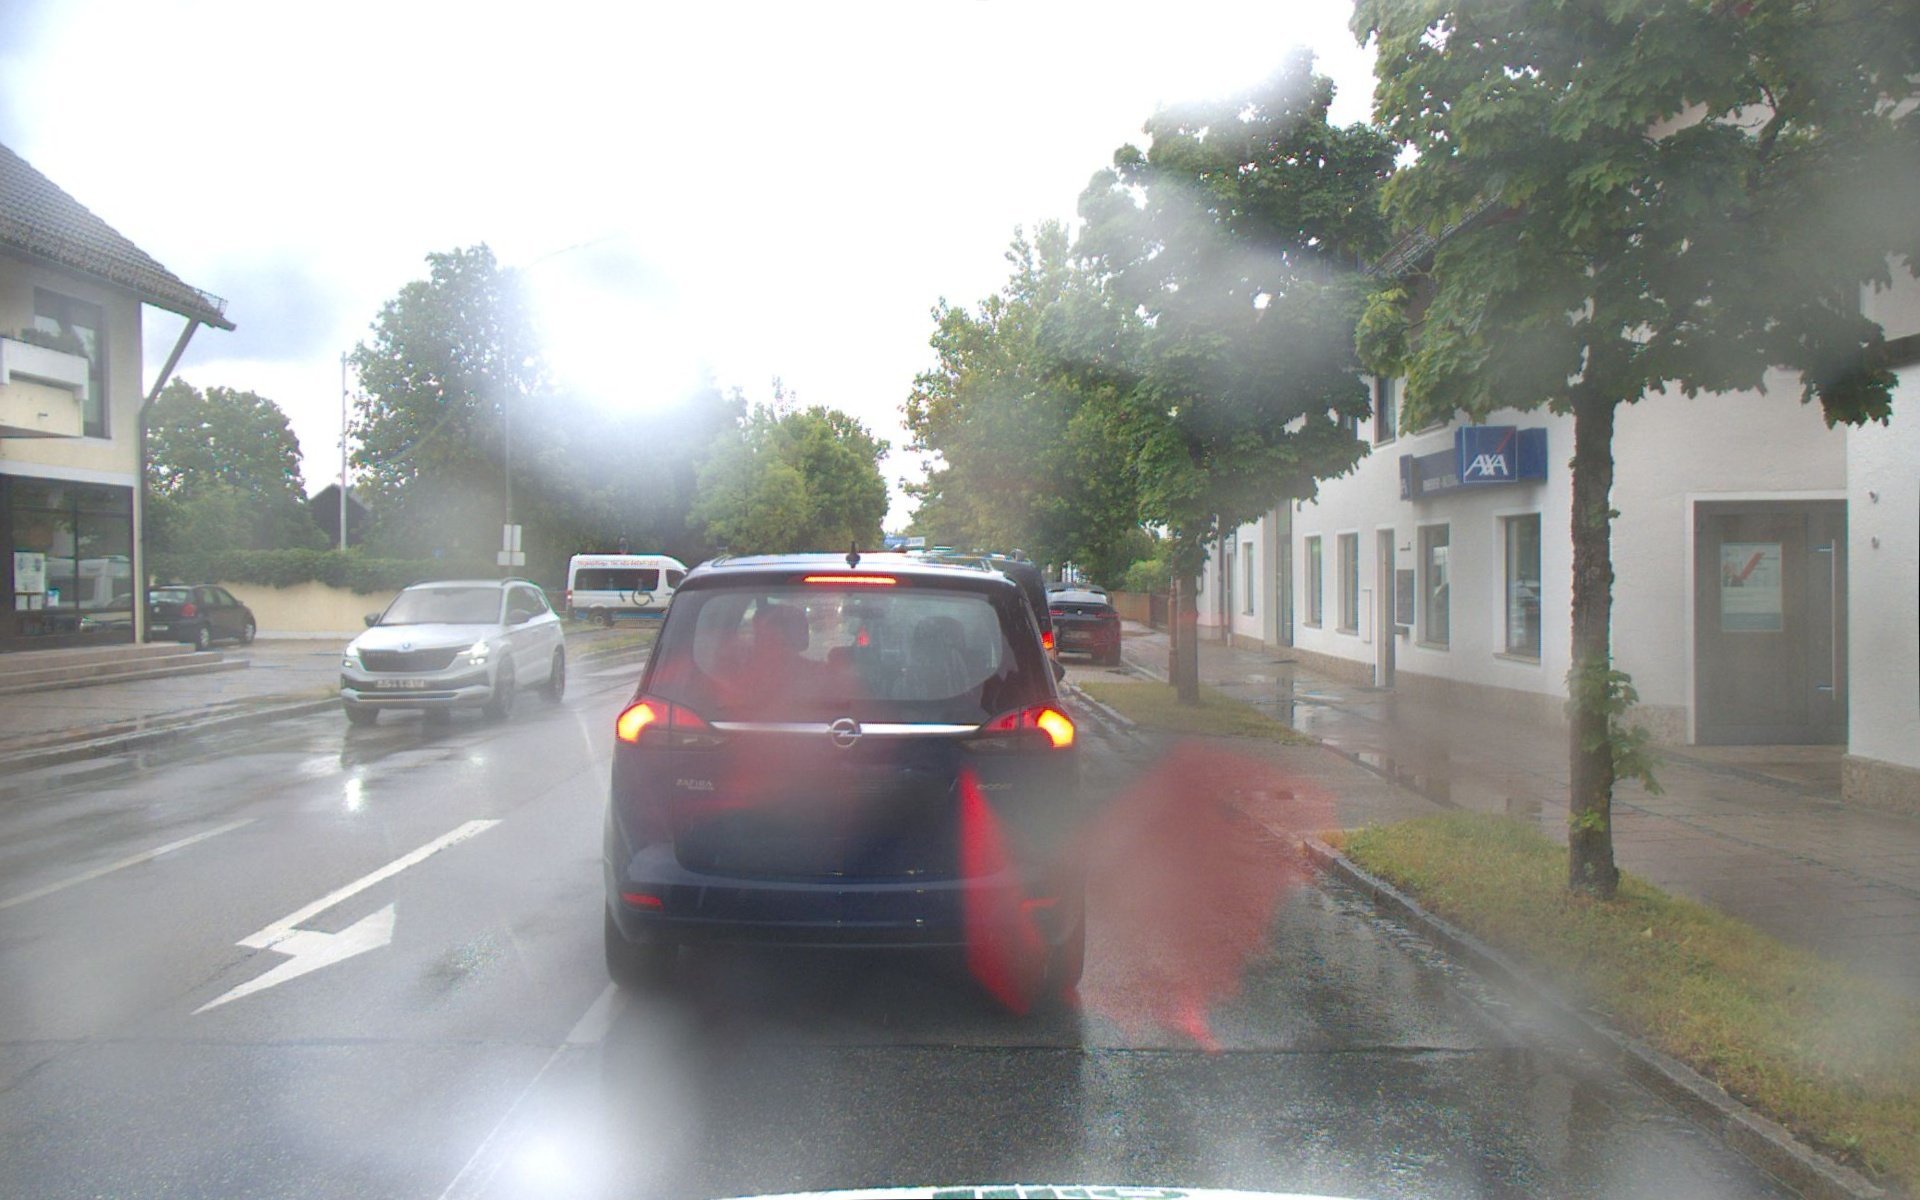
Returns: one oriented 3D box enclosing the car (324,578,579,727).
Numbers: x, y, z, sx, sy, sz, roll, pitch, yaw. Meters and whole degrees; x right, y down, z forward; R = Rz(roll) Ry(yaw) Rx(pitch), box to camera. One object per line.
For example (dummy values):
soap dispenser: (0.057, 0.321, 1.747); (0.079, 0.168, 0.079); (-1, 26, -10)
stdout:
car: (-6.009, 0.553, 20.067); (1.888, 1.594, 4.125); (-1, 0, -2)

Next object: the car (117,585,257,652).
car: (-17.568, 0.391, 37.740); (1.574, 1.404, 3.508); (-1, 0, -1)

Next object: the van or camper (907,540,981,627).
van or camper: (-0.548, -0.548, 54.606); (2.312, 2.712, 5.370); (-1, 0, -1)

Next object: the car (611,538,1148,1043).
car: (-0.289, 0.611, 7.218); (1.733, 1.632, 3.662); (1, 0, -1)

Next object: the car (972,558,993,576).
car: (1.791, -2.648, 133.105); (1.597, 1.402, 3.622); (-1, 0, -1)

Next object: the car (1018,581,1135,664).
car: (2.401, 0.451, 35.015); (2.075, 1.609, 3.934); (1, 0, -2)

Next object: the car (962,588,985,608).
car: (1.005, -0.132, 123.599); (1.597, 1.402, 3.622); (1, 0, -1)

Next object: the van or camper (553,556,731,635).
van or camper: (-11.451, -0.185, 59.906); (6.127, 2.754, 2.099); (0, 0, -6)

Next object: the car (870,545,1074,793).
car: (0.064, 0.499, 13.768); (1.470, 1.807, 3.111); (1, 0, -1)

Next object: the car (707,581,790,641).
car: (-5.811, 0.264, 45.928); (1.716, 1.537, 4.230); (-2, 0, 0)
